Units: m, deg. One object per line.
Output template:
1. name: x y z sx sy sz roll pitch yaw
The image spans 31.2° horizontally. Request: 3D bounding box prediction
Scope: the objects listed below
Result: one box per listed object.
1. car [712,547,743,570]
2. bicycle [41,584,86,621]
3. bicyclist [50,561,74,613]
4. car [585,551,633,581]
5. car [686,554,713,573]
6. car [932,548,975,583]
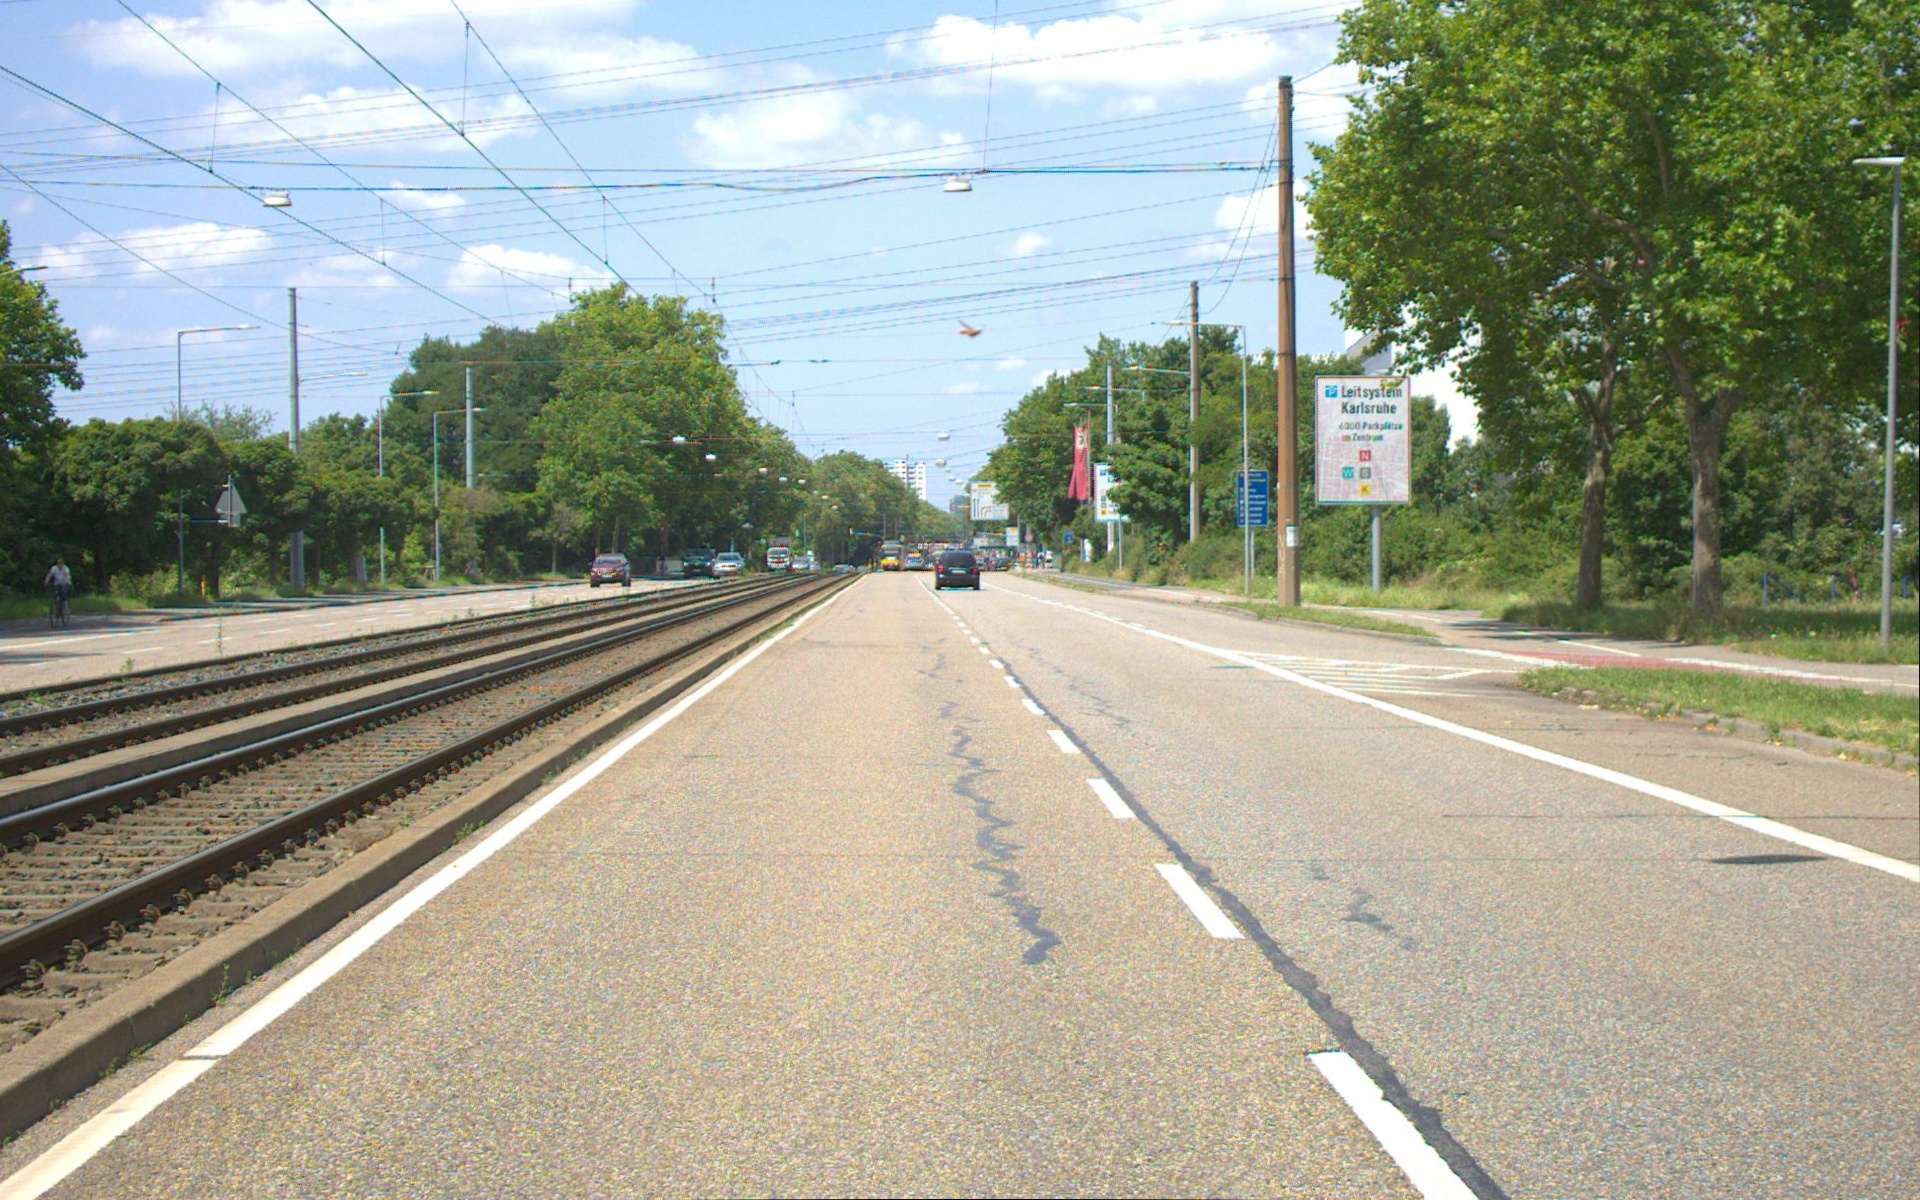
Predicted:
1. car: -14.457 -2.588 213.843 1.716 1.423 3.901 0 1 -1
2. bicycle: -21.707 0.053 83.223 0.515 0.854 1.931 0 1 2
3. bicyclist: -21.715 -0.316 83.125 0.454 1.268 0.398 0 1 2
4. car: -16.907 -1.645 165.709 1.875 1.327 3.918 -2 1 0
5. car: -17.532 -2.466 231.539 1.601 1.268 3.836 0 1 0
6. car: -0.280 -1.394 137.850 1.586 1.338 3.273 -1 2 -2
